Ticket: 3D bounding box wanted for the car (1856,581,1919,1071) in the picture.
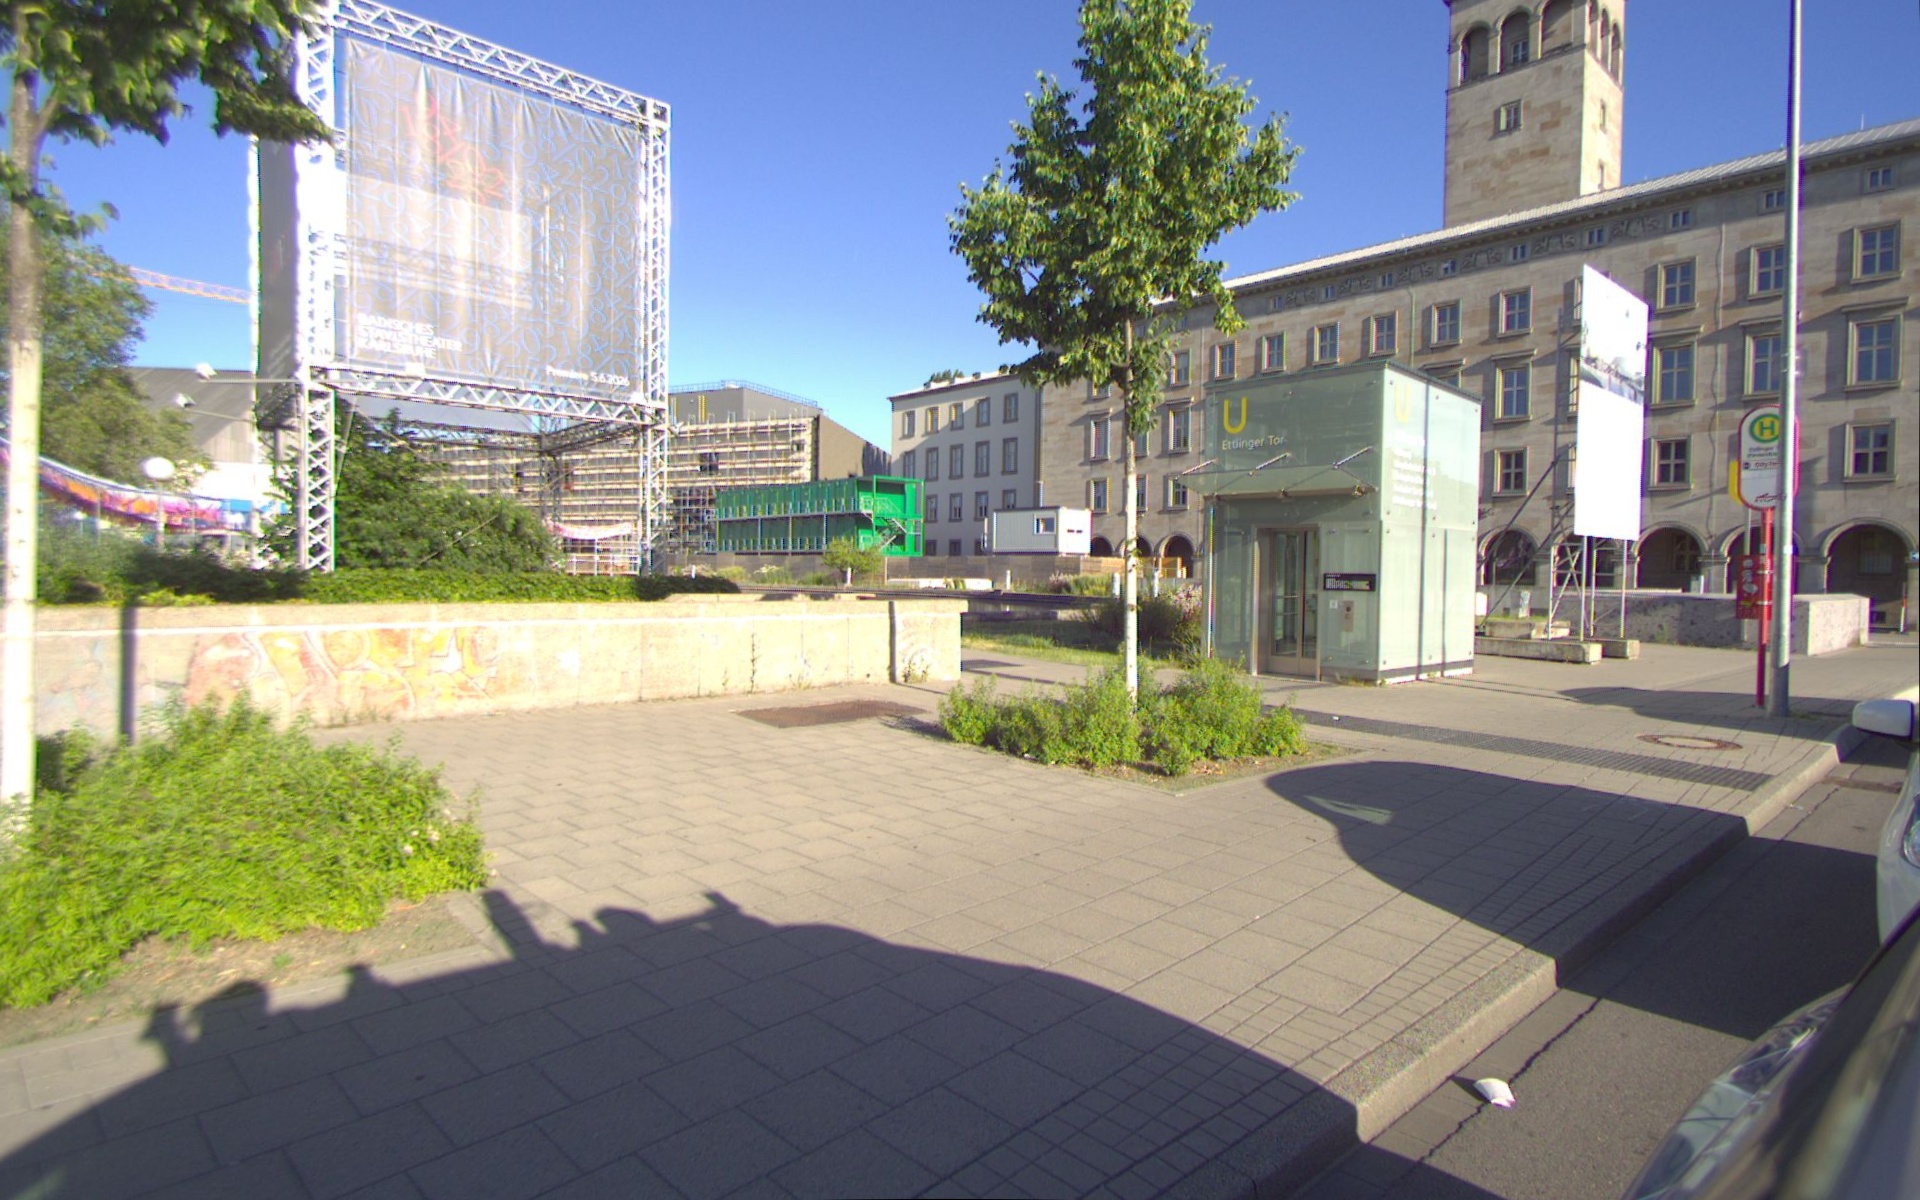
[{"bbox_3d":[4.835,0.671,3.830,3.899,1.490,1.658,-1,0,-41],"label":"car"}]
